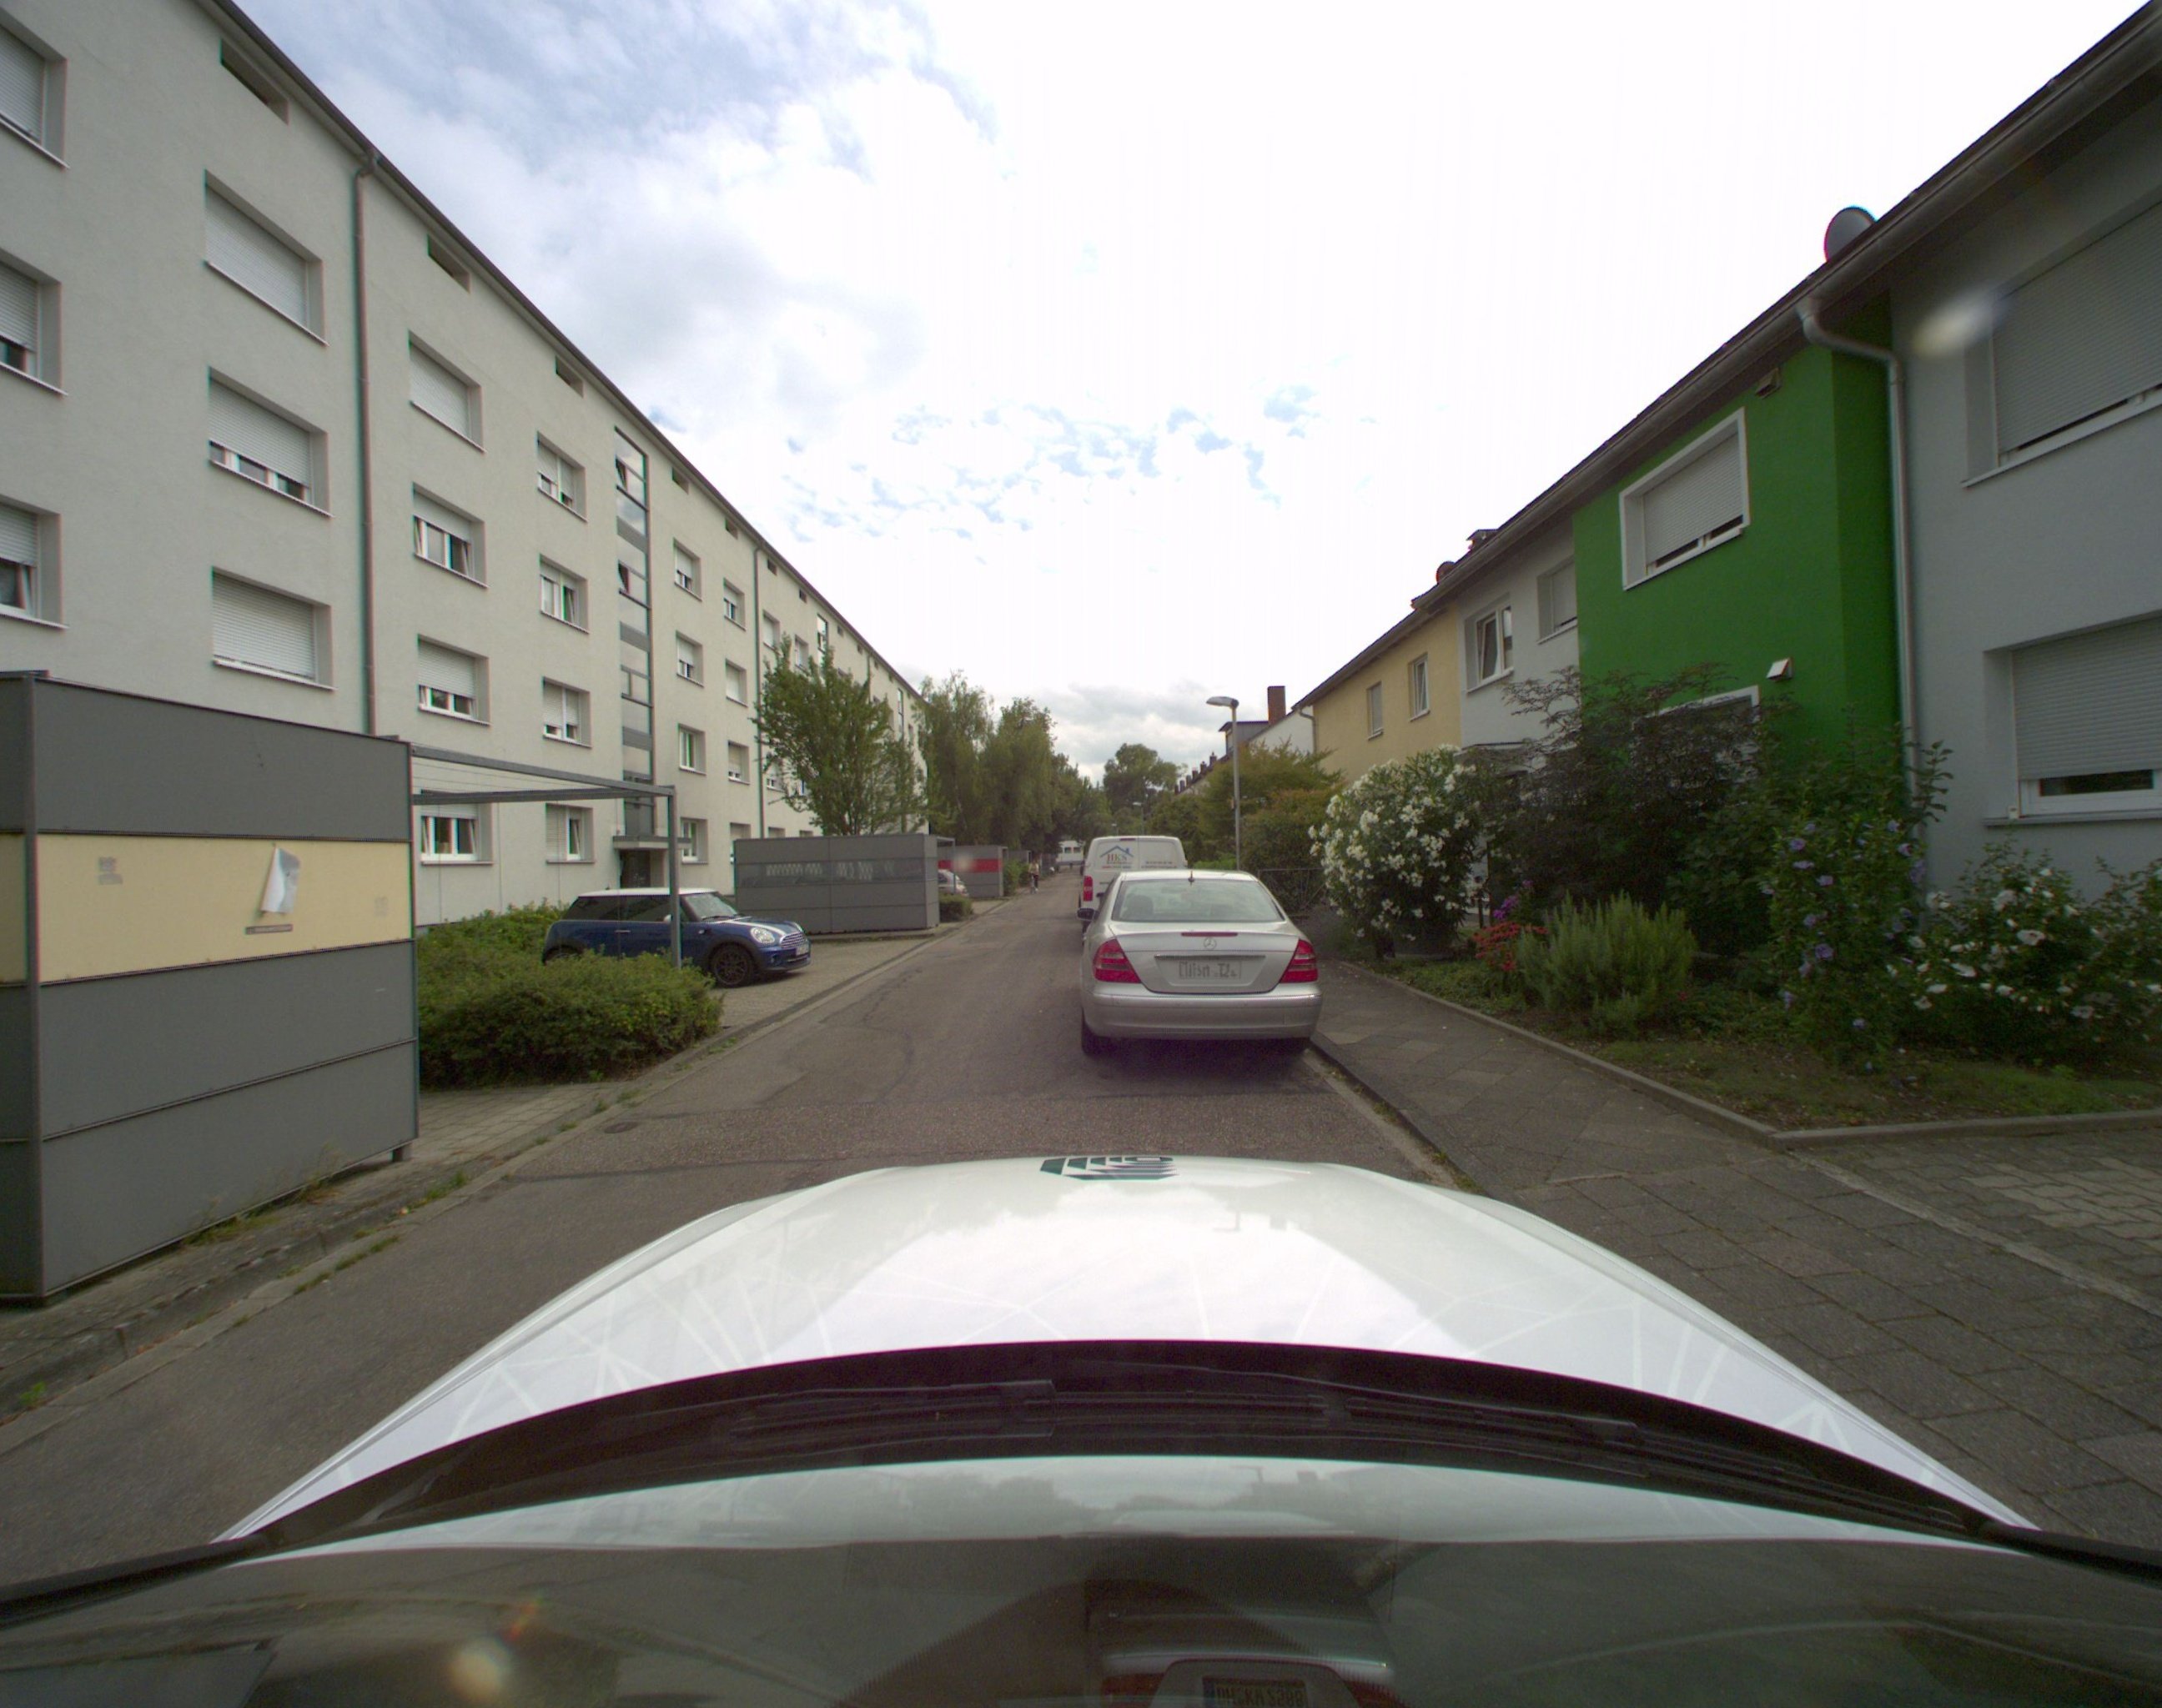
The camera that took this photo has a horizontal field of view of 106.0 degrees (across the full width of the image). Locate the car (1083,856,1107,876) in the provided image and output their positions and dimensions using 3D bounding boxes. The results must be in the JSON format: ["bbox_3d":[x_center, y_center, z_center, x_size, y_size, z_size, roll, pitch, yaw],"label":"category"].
[{"bbox_3d":[1.133,0.988,67.803,1.820,1.581,3.998,0,0,-1],"label":"car"}]

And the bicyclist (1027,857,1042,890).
[{"bbox_3d":[-2.346,0.969,40.832,0.595,1.581,0.767,-3,-1,1],"label":"bicyclist"}]

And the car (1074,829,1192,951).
[{"bbox_3d":[0.840,0.598,15.903,1.898,1.964,5.252,-1,0,0],"label":"car"}]

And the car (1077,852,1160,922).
[{"bbox_3d":[0.892,0.805,21.588,1.820,1.636,4.158,-1,0,-3],"label":"car"}]

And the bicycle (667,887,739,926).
[{"bbox_3d":[-10.970,1.506,23.671,1.820,1.024,0.473,-2,-1,-41],"label":"bicycle"}]

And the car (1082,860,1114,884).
[{"bbox_3d":[1.003,1.041,49.166,1.819,1.370,4.331,0,0,1],"label":"car"}]

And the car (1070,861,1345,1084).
[{"bbox_3d":[0.899,0.794,7.550,1.777,1.421,4.457,-1,0,2],"label":"car"}]

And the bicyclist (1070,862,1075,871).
[{"bbox_3d":[-1.387,1.973,131.248,0.795,1.511,0.934,0,-1,2],"label":"bicyclist"}]

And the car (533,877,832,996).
[{"bbox_3d":[-5.874,1.183,12.270,3.619,1.461,1.654,-3,-1,3],"label":"car"}]

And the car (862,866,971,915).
[{"bbox_3d":[-5.824,1.273,29.170,3.555,1.480,1.708,-3,0,-5],"label":"car"}]

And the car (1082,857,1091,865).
[{"bbox_3d":[1.166,1.392,165.751,1.819,1.581,4.000,0,0,1],"label":"car"}]

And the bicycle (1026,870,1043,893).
[{"bbox_3d":[-2.330,1.376,40.819,0.595,1.076,2.043,-3,0,2],"label":"bicycle"}]

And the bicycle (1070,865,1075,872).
[{"bbox_3d":[-1.386,2.291,131.379,0.686,1.131,2.580,0,-1,2],"label":"bicycle"}]
